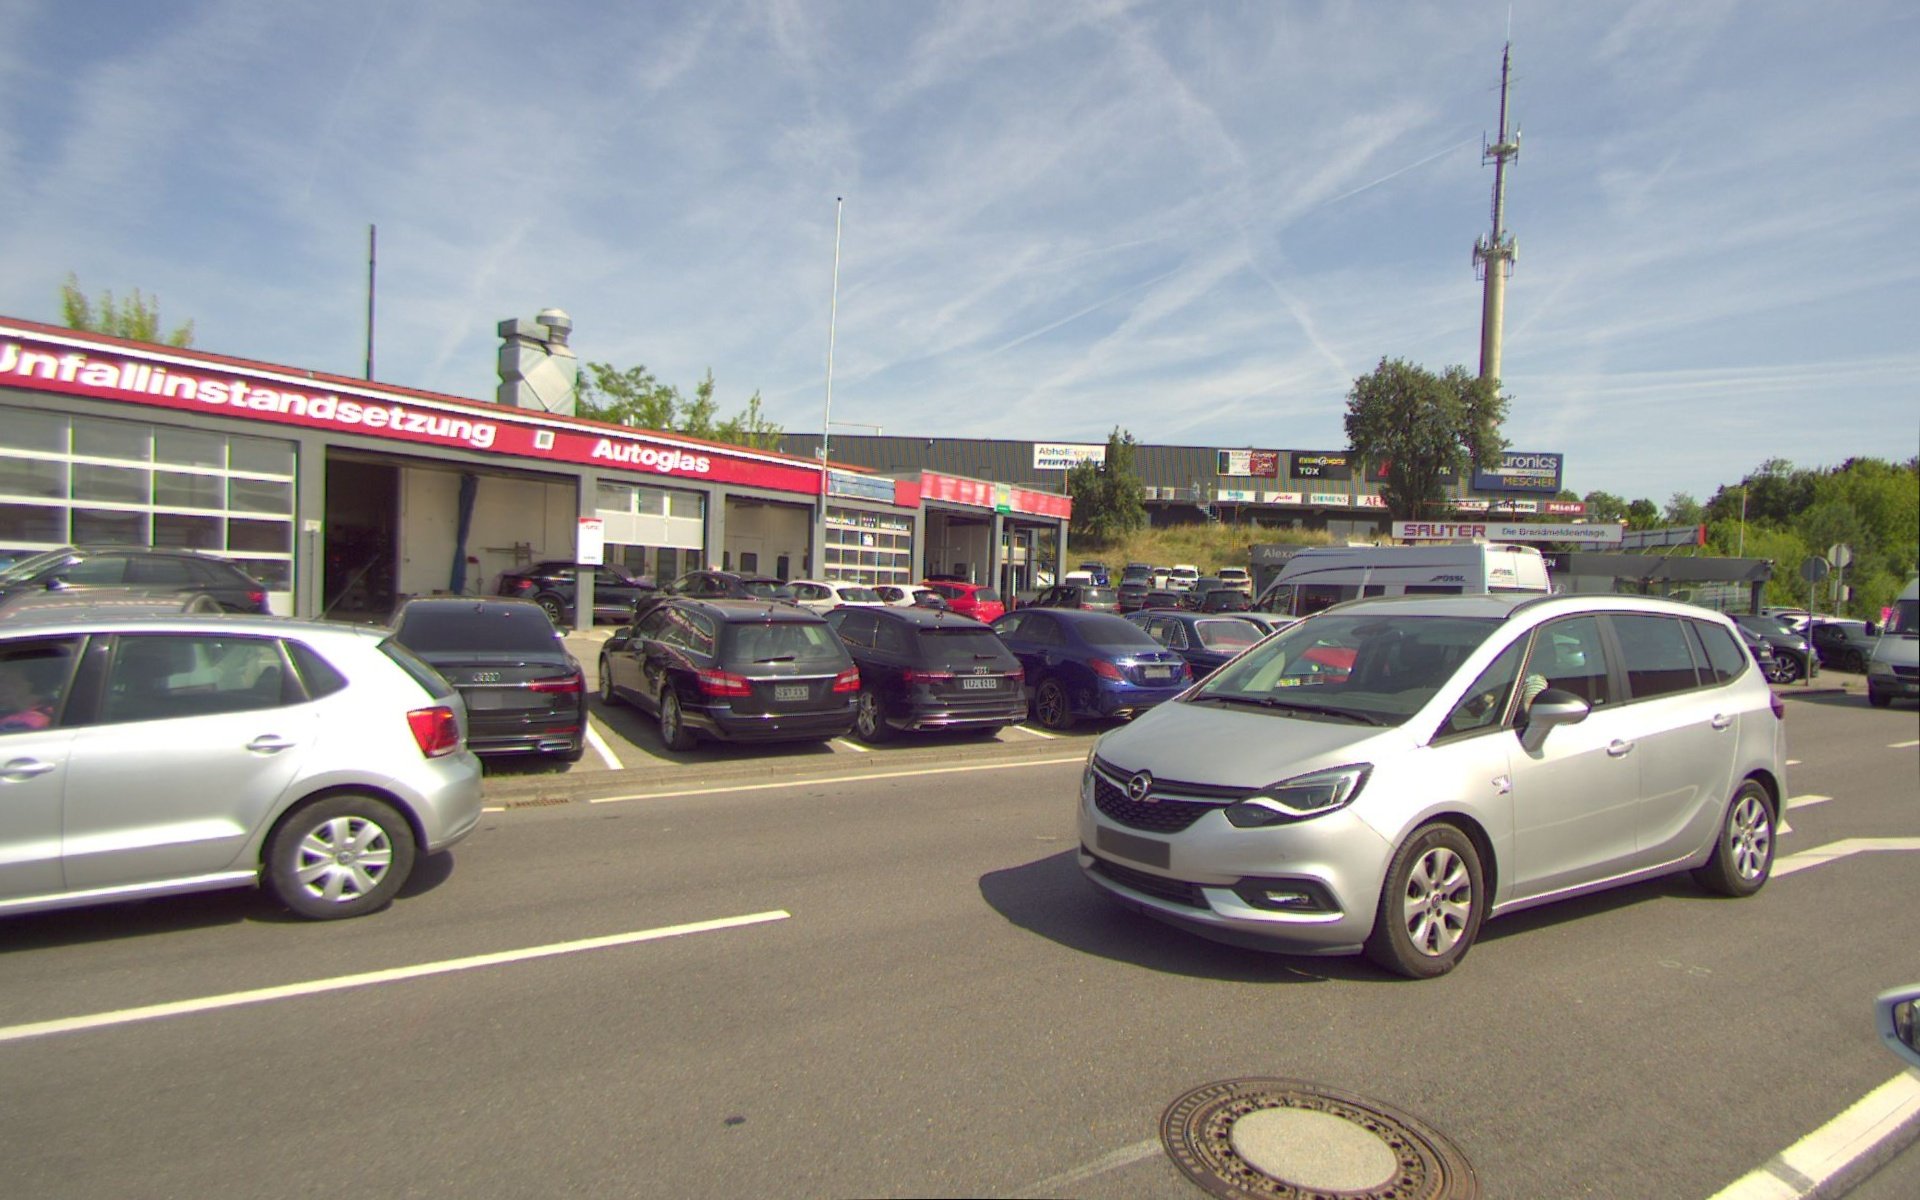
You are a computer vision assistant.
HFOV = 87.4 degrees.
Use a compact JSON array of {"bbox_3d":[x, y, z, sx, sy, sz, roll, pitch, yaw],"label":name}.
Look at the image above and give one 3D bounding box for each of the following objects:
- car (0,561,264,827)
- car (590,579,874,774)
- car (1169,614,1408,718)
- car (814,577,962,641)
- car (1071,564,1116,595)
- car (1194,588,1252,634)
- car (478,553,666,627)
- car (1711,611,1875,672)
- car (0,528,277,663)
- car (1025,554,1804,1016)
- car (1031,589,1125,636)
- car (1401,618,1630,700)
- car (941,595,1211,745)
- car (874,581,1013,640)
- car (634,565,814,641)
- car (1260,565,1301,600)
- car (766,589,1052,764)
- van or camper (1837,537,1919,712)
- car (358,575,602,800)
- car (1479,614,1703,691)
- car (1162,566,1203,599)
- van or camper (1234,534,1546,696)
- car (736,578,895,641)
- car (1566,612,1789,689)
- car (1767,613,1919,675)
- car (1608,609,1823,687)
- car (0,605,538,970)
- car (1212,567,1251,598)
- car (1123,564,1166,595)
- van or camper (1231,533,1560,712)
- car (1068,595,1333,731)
[{"bbox_3d":[-7.062,0.555,8.393,1.816,1.505,4.252,1,4,-32],"label":"car"},{"bbox_3d":[-2.794,0.676,11.423,1.752,1.505,4.433,1,4,-32],"label":"car"},{"bbox_3d":[5.417,1.026,16.951,1.791,1.500,3.577,1,-1,-30],"label":"car"},{"bbox_3d":[-1.981,0.223,27.326,3.767,1.609,1.763,1,0,37],"label":"car"},{"bbox_3d":[7.160,-1.086,53.524,1.702,1.470,3.750,2,0,18],"label":"car"},{"bbox_3d":[9.823,0.395,37.781,1.733,1.609,3.831,1,0,9],"label":"car"},{"bbox_3d":[-9.712,-0.203,25.301,3.987,1.694,1.888,1,0,-43],"label":"car"},{"bbox_3d":[25.535,1.228,30.986,1.806,1.716,3.828,1,0,-2],"label":"car"},{"bbox_3d":[-12.851,-0.067,14.852,1.797,1.696,4.116,8,3,34],"label":"car"},{"bbox_3d":[2.598,0.731,5.548,4.131,1.685,1.900,1,-1,-30],"label":"car"},{"bbox_3d":[4.191,0.438,36.205,1.744,1.609,3.808,1,0,-23],"label":"car"},{"bbox_3d":[11.480,1.151,21.003,1.822,1.467,3.796,1,0,-31],"label":"car"},{"bbox_3d":[1.410,0.796,13.531,1.689,1.577,3.687,0,3,-32],"label":"car"},{"bbox_3d":[-0.505,0.280,29.395,3.767,1.609,1.763,1,0,37],"label":"car"},{"bbox_3d":[-5.250,0.053,22.180,3.887,1.553,1.763,1,0,37],"label":"car"},{"bbox_3d":[15.110,-0.798,47.330,1.702,1.470,3.750,2,0,18],"label":"car"},{"bbox_3d":[-0.786,0.773,12.191,1.782,1.505,3.822,1,4,-32],"label":"car"},{"bbox_3d":[19.555,0.489,19.372,5.834,3.097,2.196,1,1,-31],"label":"van or camper"},{"bbox_3d":[-4.932,0.653,10.040,1.777,1.505,4.276,1,4,-30],"label":"car"},{"bbox_3d":[13.845,1.095,22.233,1.822,1.467,3.796,1,0,-31],"label":"car"},{"bbox_3d":[11.675,-0.903,52.507,1.702,1.558,3.750,2,0,18],"label":"car"},{"bbox_3d":[8.775,0.237,21.204,2.262,2.912,5.864,0,1,-30],"label":"van or camper"},{"bbox_3d":[-3.609,0.213,24.884,3.767,1.451,1.763,1,0,37],"label":"car"},{"bbox_3d":[16.469,1.092,23.237,1.822,1.560,3.796,1,0,-31],"label":"car"},{"bbox_3d":[27.611,1.287,30.766,2.090,1.716,4.528,1,0,-1],"label":"car"},{"bbox_3d":[18.364,1.105,24.570,1.822,1.697,3.796,1,0,-31],"label":"car"},{"bbox_3d":[-4.350,0.773,4.900,4.033,1.467,1.828,1,0,-30],"label":"car"},{"bbox_3d":[13.974,-0.879,51.656,1.702,1.470,3.750,2,0,18],"label":"car"},{"bbox_3d":[9.748,-1.045,52.960,1.702,1.470,3.750,2,0,18],"label":"car"},{"bbox_3d":[7.641,0.331,18.281,2.184,2.768,5.221,1,0,-29],"label":"van or camper"},{"bbox_3d":[3.459,0.832,15.073,1.689,1.505,3.686,1,4,-32],"label":"car"}]
